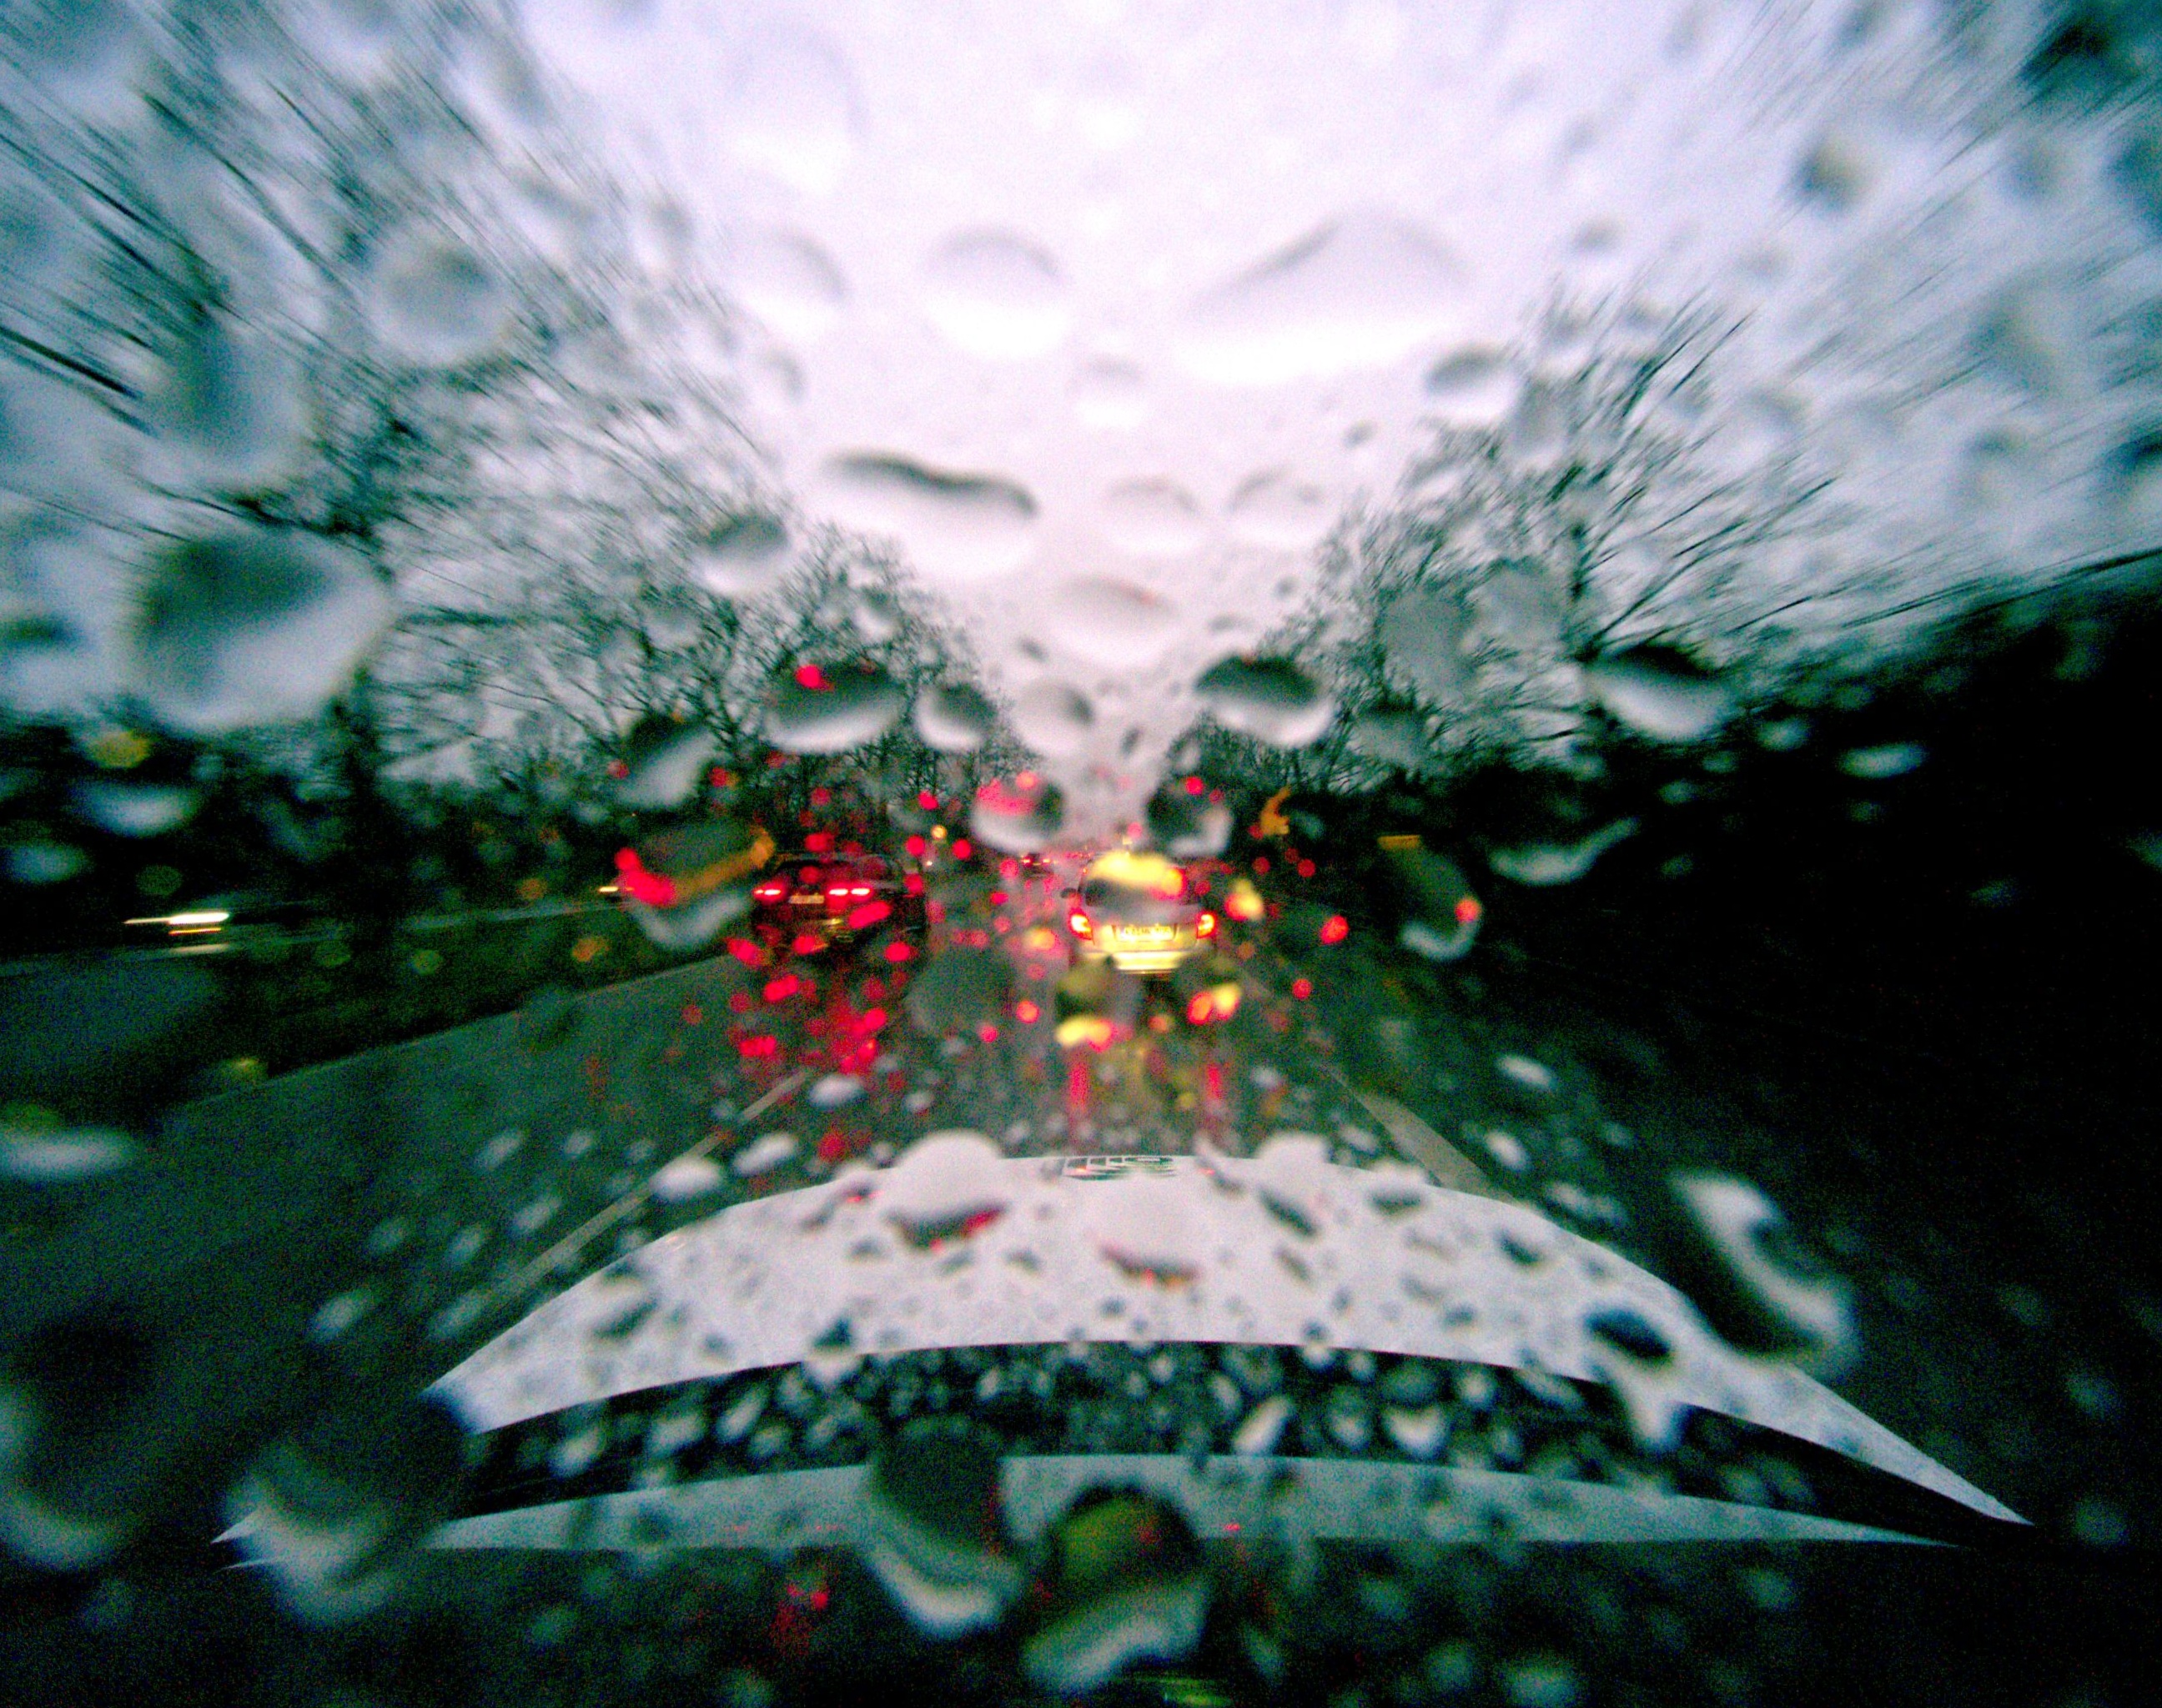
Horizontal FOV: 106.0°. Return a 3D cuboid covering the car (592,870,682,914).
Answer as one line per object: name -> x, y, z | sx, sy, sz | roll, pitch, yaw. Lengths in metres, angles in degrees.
car -> -19.277, 1.621, 35.576 | 1.611, 1.681, 3.983 | -2, 0, 2

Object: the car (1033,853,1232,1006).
car -> 0.598, 0.792, 10.413 | 1.986, 1.500, 4.139 | -2, -1, 2

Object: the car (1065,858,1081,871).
car -> -0.946, 1.283, 102.914 | 1.783, 1.483, 4.001 | -2, 0, 2

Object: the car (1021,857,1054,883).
car -> -2.813, 1.017, 53.415 | 1.783, 1.545, 4.001 | -2, 0, 2

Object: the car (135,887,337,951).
car -> -23.429, 1.747, 22.803 | 1.626, 1.468, 3.793 | -2, -1, 2

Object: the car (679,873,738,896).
car -> -24.455, 1.982, 53.650 | 1.742, 1.395, 4.302 | -2, -1, 2

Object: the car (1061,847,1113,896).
car -> 0.306, 0.673, 32.785 | 1.890, 1.767, 4.310 | -2, 0, 2

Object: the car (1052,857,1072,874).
car -> -1.873, 1.143, 80.995 | 1.783, 1.545, 4.001 | -2, 0, 2

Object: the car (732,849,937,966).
car -> -3.742, 0.736, 13.255 | 1.987, 1.601, 4.308 | 0, 0, 0
